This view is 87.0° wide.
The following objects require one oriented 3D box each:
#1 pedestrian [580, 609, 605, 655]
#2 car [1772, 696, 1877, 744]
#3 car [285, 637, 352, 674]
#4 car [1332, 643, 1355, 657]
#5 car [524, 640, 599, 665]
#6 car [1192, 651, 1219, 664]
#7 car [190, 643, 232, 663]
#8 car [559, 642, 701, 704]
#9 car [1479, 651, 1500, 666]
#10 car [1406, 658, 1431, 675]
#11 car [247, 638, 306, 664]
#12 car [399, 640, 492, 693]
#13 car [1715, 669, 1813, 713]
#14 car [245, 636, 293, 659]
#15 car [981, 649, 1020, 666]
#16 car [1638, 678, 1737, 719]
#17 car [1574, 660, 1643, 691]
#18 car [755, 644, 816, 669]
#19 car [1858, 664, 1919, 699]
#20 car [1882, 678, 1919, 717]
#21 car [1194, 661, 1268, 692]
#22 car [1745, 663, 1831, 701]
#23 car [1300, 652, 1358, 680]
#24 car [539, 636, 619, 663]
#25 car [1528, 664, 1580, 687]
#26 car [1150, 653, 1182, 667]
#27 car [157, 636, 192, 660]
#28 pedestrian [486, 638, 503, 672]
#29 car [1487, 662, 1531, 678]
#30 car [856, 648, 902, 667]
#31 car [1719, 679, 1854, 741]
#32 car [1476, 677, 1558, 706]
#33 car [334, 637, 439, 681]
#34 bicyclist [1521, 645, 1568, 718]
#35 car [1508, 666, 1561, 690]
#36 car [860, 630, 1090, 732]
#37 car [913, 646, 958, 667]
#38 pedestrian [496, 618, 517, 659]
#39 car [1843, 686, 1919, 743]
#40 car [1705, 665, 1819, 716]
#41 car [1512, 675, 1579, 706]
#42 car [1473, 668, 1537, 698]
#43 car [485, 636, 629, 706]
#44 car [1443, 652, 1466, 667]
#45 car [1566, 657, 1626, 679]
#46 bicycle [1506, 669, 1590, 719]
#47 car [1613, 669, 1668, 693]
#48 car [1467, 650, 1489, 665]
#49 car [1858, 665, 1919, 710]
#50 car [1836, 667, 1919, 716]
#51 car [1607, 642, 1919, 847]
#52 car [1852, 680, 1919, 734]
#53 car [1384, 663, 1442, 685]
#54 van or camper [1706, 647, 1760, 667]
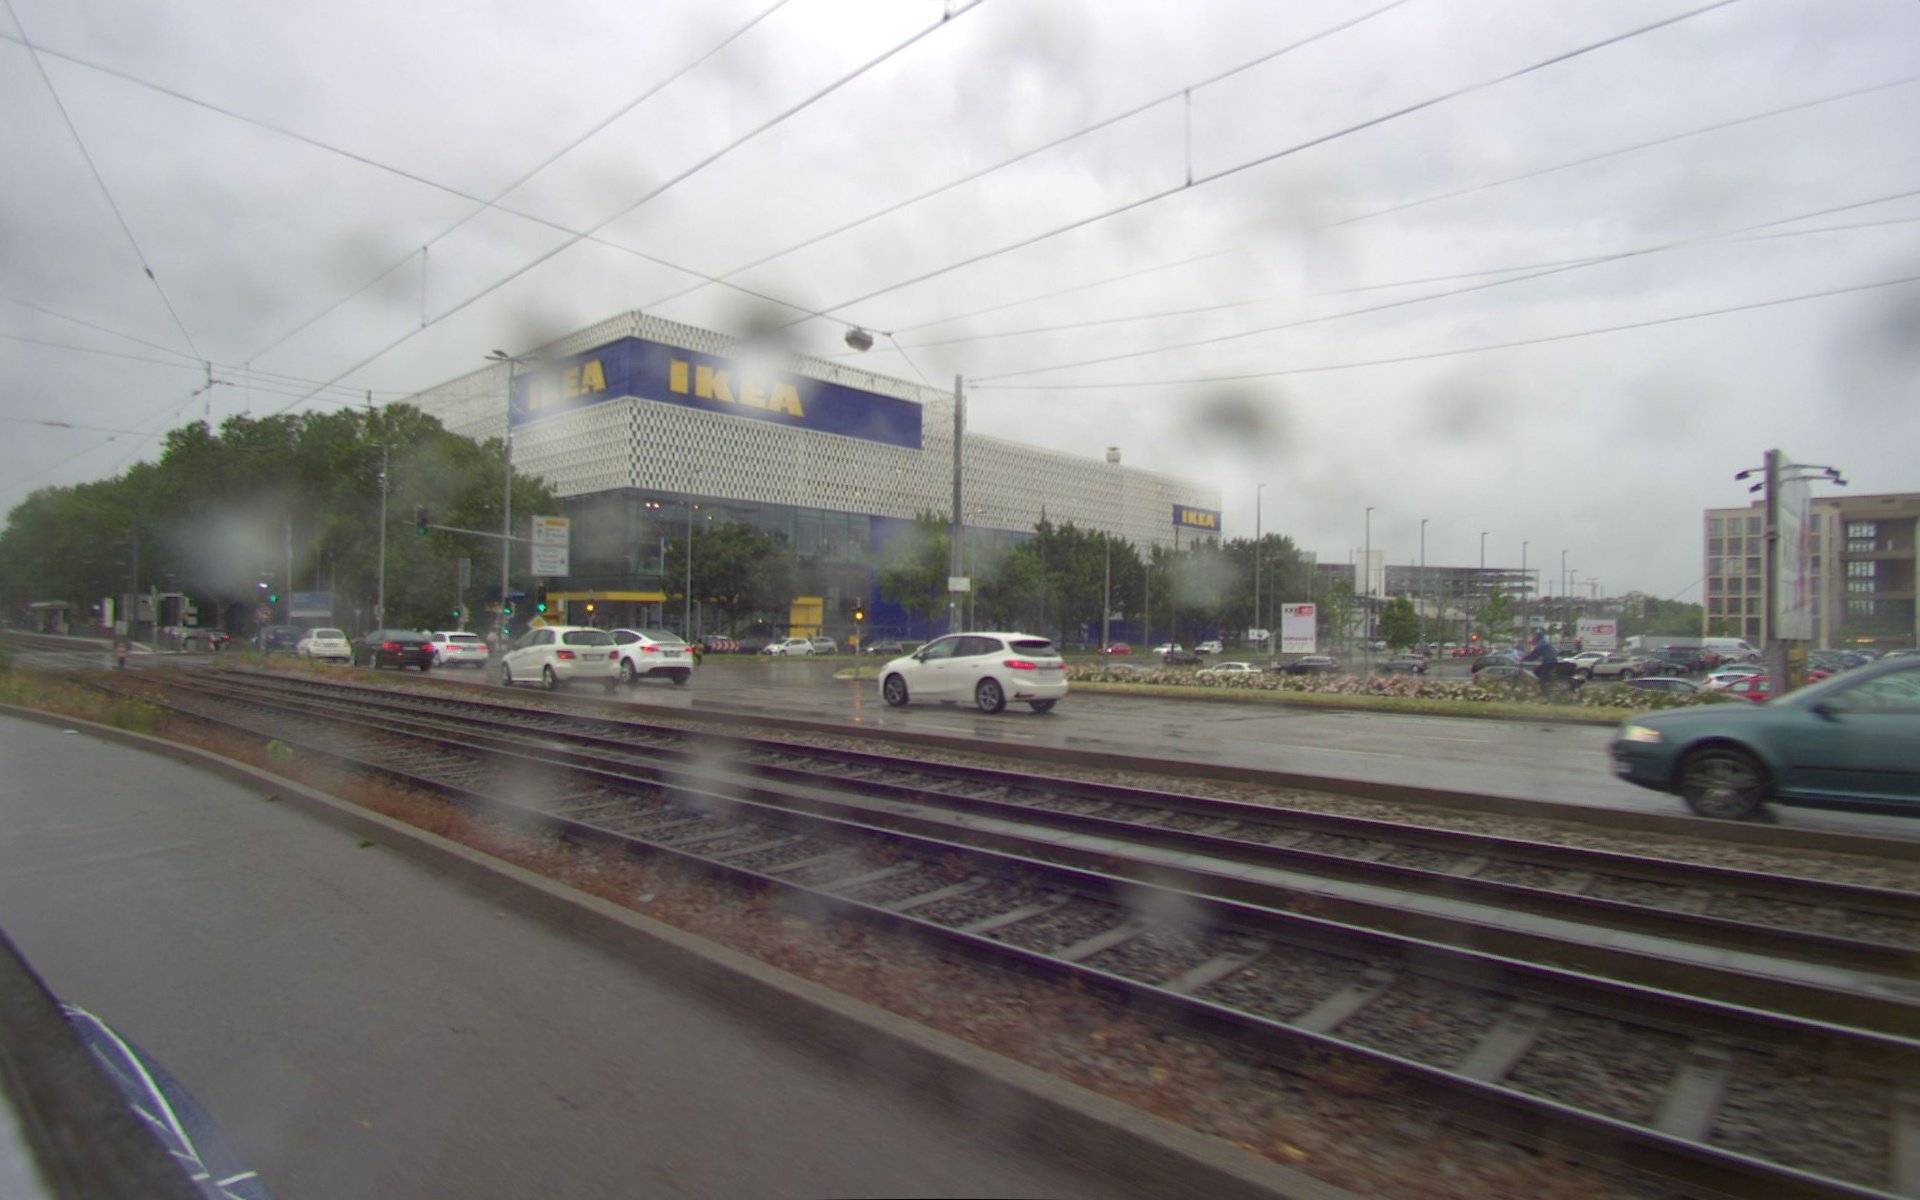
[{"bbox_3d":[-16.503,1.430,45.470,0.856,2.029,0.688,-1,-1,36],"label":"pedestrian"},{"bbox_3d":[30.702,4.240,36.025,2.768,1.414,1.334,-1,0,40],"label":"car"},{"bbox_3d":[-28.881,2.472,45.519,4.049,1.547,1.693,-3,-2,45],"label":"car"},{"bbox_3d":[60.888,7.909,160.545,2.001,2.029,3.942,-1,-1,44],"label":"car"},{"bbox_3d":[-26.114,3.427,66.452,1.820,1.553,4.226,-3,-3,44],"label":"car"},{"bbox_3d":[30.200,7.016,124.451,1.603,1.417,3.769,-1,0,45],"label":"car"},{"bbox_3d":[-49.770,3.515,67.225,4.049,1.259,1.692,-3,-2,45],"label":"car"},{"bbox_3d":[-10.017,2.140,30.535,4.841,1.618,1.887,-2,0,42],"label":"car"},{"bbox_3d":[83.196,9.150,159.007,2.001,2.029,3.942,-1,-1,44],"label":"car"},{"bbox_3d":[64.108,9.284,141.425,2.001,2.029,3.942,-1,-1,44],"label":"car"},{"bbox_3d":[-36.093,2.713,53.405,4.462,1.259,1.693,-3,-2,44],"label":"car"},{"bbox_3d":[-21.435,2.704,42.064,4.791,1.916,1.972,-1,-1,43],"label":"car"},{"bbox_3d":[43.138,4.834,54.349,3.997,2.029,1.973,-1,0,40],"label":"car"},{"bbox_3d":[-46.454,3.198,68.028,4.714,1.447,1.791,-3,-2,44],"label":"car"},{"bbox_3d":[3.855,5.502,96.468,1.603,1.417,3.769,-1,0,45],"label":"car"},{"bbox_3d":[27.402,3.685,38.136,2.936,1.263,1.340,-1,0,40],"label":"car"},{"bbox_3d":[45.557,5.270,71.087,3.900,1.920,1.800,-1,0,39],"label":"car"},{"bbox_3d":[-12.859,4.131,74.640,2.000,1.615,4.051,-1,0,43],"label":"car"},{"bbox_3d":[59.479,5.144,63.947,3.996,2.029,1.973,-1,0,40],"label":"car"},{"bbox_3d":[56.087,5.676,58.488,3.996,2.029,1.973,-1,0,40],"label":"car"},{"bbox_3d":[16.662,4.679,62.271,3.997,1.616,1.782,-1,0,40],"label":"car"},{"bbox_3d":[50.835,5.001,62.208,3.997,2.029,1.973,-1,0,40],"label":"car"},{"bbox_3d":[29.856,5.339,81.883,3.996,2.029,1.973,-1,0,40],"label":"car"},{"bbox_3d":[-23.953,3.119,63.711,1.820,1.552,4.398,-3,-2,44],"label":"car"},{"bbox_3d":[44.605,5.656,76.055,3.166,1.535,1.552,-1,0,40],"label":"car"},{"bbox_3d":[24.087,6.993,118.332,1.710,1.417,4.106,-1,0,45],"label":"car"},{"bbox_3d":[-60.060,3.651,77.307,1.692,1.721,4.433,-1,-2,-43],"label":"car"},{"bbox_3d":[-28.755,3.362,62.477,0.772,2.029,0.859,0,-1,-40],"label":"pedestrian"},{"bbox_3d":[55.726,7.074,102.669,1.760,1.417,3.570,0,0,-44],"label":"car"},{"bbox_3d":[-6.879,4.841,86.000,1.603,1.417,3.769,-1,0,45],"label":"car"},{"bbox_3d":[32.518,4.280,39.912,3.997,2.029,1.973,-1,0,40],"label":"car"},{"bbox_3d":[30.425,4.973,55.333,3.721,1.274,1.532,-1,0,40],"label":"car"},{"bbox_3d":[-20.917,2.169,36.839,5.084,1.434,1.901,-3,-7,44],"label":"car"},{"bbox_3d":[13.494,1.859,23.360,0.792,1.601,0.664,-2,0,43],"label":"bicyclist"},{"bbox_3d":[42.104,5.716,74.222,3.166,1.535,1.552,-1,0,40],"label":"car"},{"bbox_3d":[0.203,1.555,20.901,4.694,1.848,1.971,-1,-2,44],"label":"car"},{"bbox_3d":[-2.151,5.023,90.395,1.683,1.686,3.955,-1,-1,45],"label":"car"},{"bbox_3d":[-25.834,2.191,57.702,0.906,2.261,0.992,-1,2,-34],"label":"pedestrian"},{"bbox_3d":[38.189,4.605,40.659,3.997,2.029,1.973,-1,0,40],"label":"car"},{"bbox_3d":[36.714,4.106,46.382,3.997,2.029,1.973,-1,0,40],"label":"car"},{"bbox_3d":[33.993,5.228,58.818,3.166,1.535,1.552,-1,0,40],"label":"car"},{"bbox_3d":[39.559,5.977,73.449,3.828,1.920,1.800,-1,0,39],"label":"car"},{"bbox_3d":[-10.472,1.794,26.134,4.329,1.585,1.852,-3,-2,44],"label":"car"},{"bbox_3d":[73.444,8.804,150.304,2.001,2.029,3.942,-1,-1,44],"label":"car"},{"bbox_3d":[53.206,5.678,84.641,4.007,1.573,1.740,-1,0,43],"label":"car"},{"bbox_3d":[13.534,2.145,23.328,1.556,1.023,0.661,-2,0,43],"label":"bicycle"},{"bbox_3d":[49.286,5.847,73.343,3.166,1.535,1.552,-1,0,40],"label":"car"},{"bbox_3d":[79.122,8.766,154.533,2.001,2.029,3.942,-1,-1,44],"label":"car"},{"bbox_3d":[47.293,4.357,50.231,3.997,2.029,1.973,-1,0,41],"label":"car"},{"bbox_3d":[43.090,4.214,46.665,3.997,2.029,1.973,-1,0,41],"label":"car"},{"bbox_3d":[7.994,1.132,7.924,4.672,1.468,1.971,-1,-4,43],"label":"car"},{"bbox_3d":[40.407,4.540,42.732,3.997,2.029,1.973,-1,0,40],"label":"car"},{"bbox_3d":[37.134,6.071,83.051,4.038,1.536,1.695,-1,0,39],"label":"car"},{"bbox_3d":[90.196,6.664,118.198,4.984,2.129,1.764,-1,0,38],"label":"van or camper"}]
